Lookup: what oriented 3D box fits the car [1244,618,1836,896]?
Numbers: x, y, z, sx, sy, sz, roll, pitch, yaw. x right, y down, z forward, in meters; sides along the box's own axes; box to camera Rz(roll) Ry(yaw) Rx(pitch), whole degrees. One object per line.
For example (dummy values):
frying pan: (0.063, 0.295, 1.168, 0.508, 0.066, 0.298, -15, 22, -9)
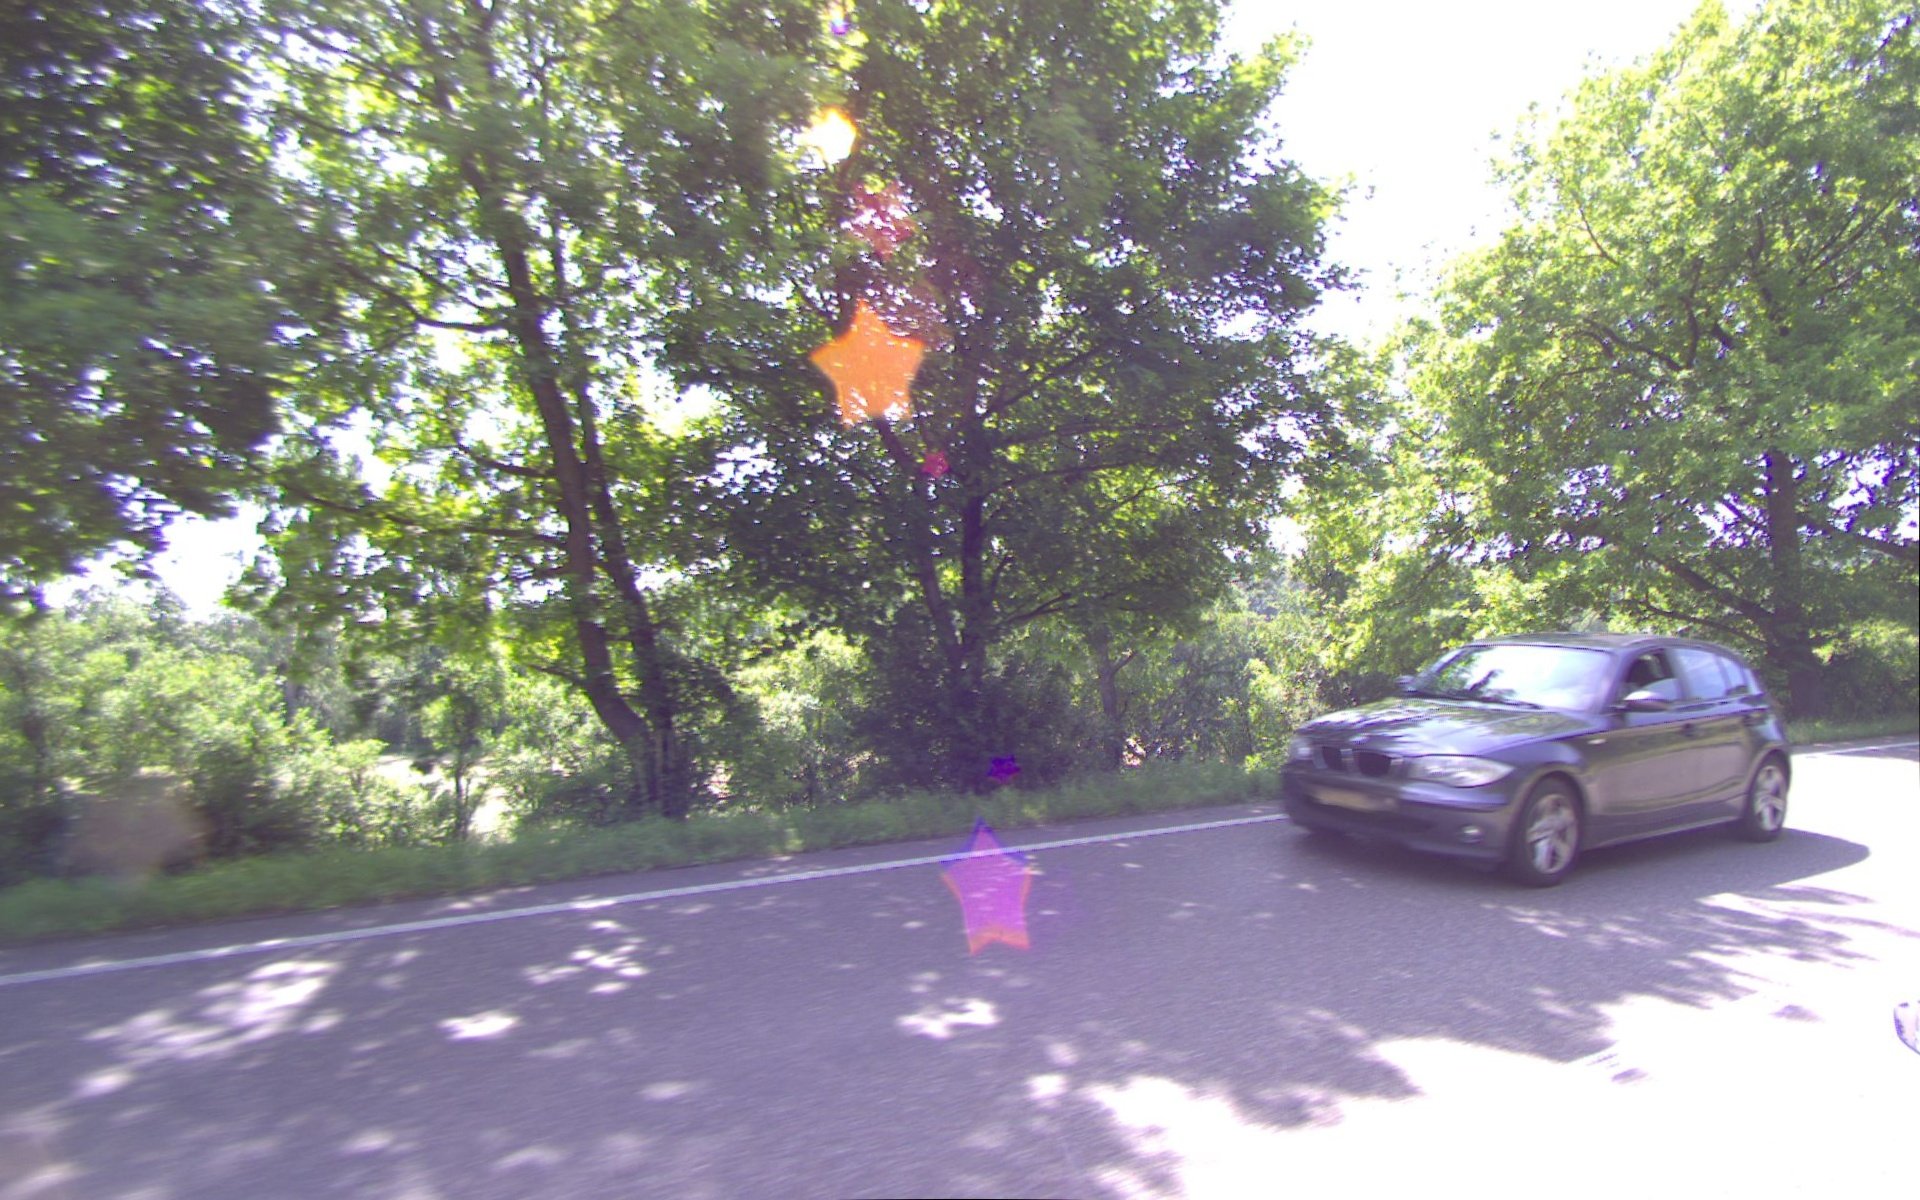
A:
car: (4.178, 0.880, 7.087, 4.218, 1.451, 1.751, 1, -1, -30)
